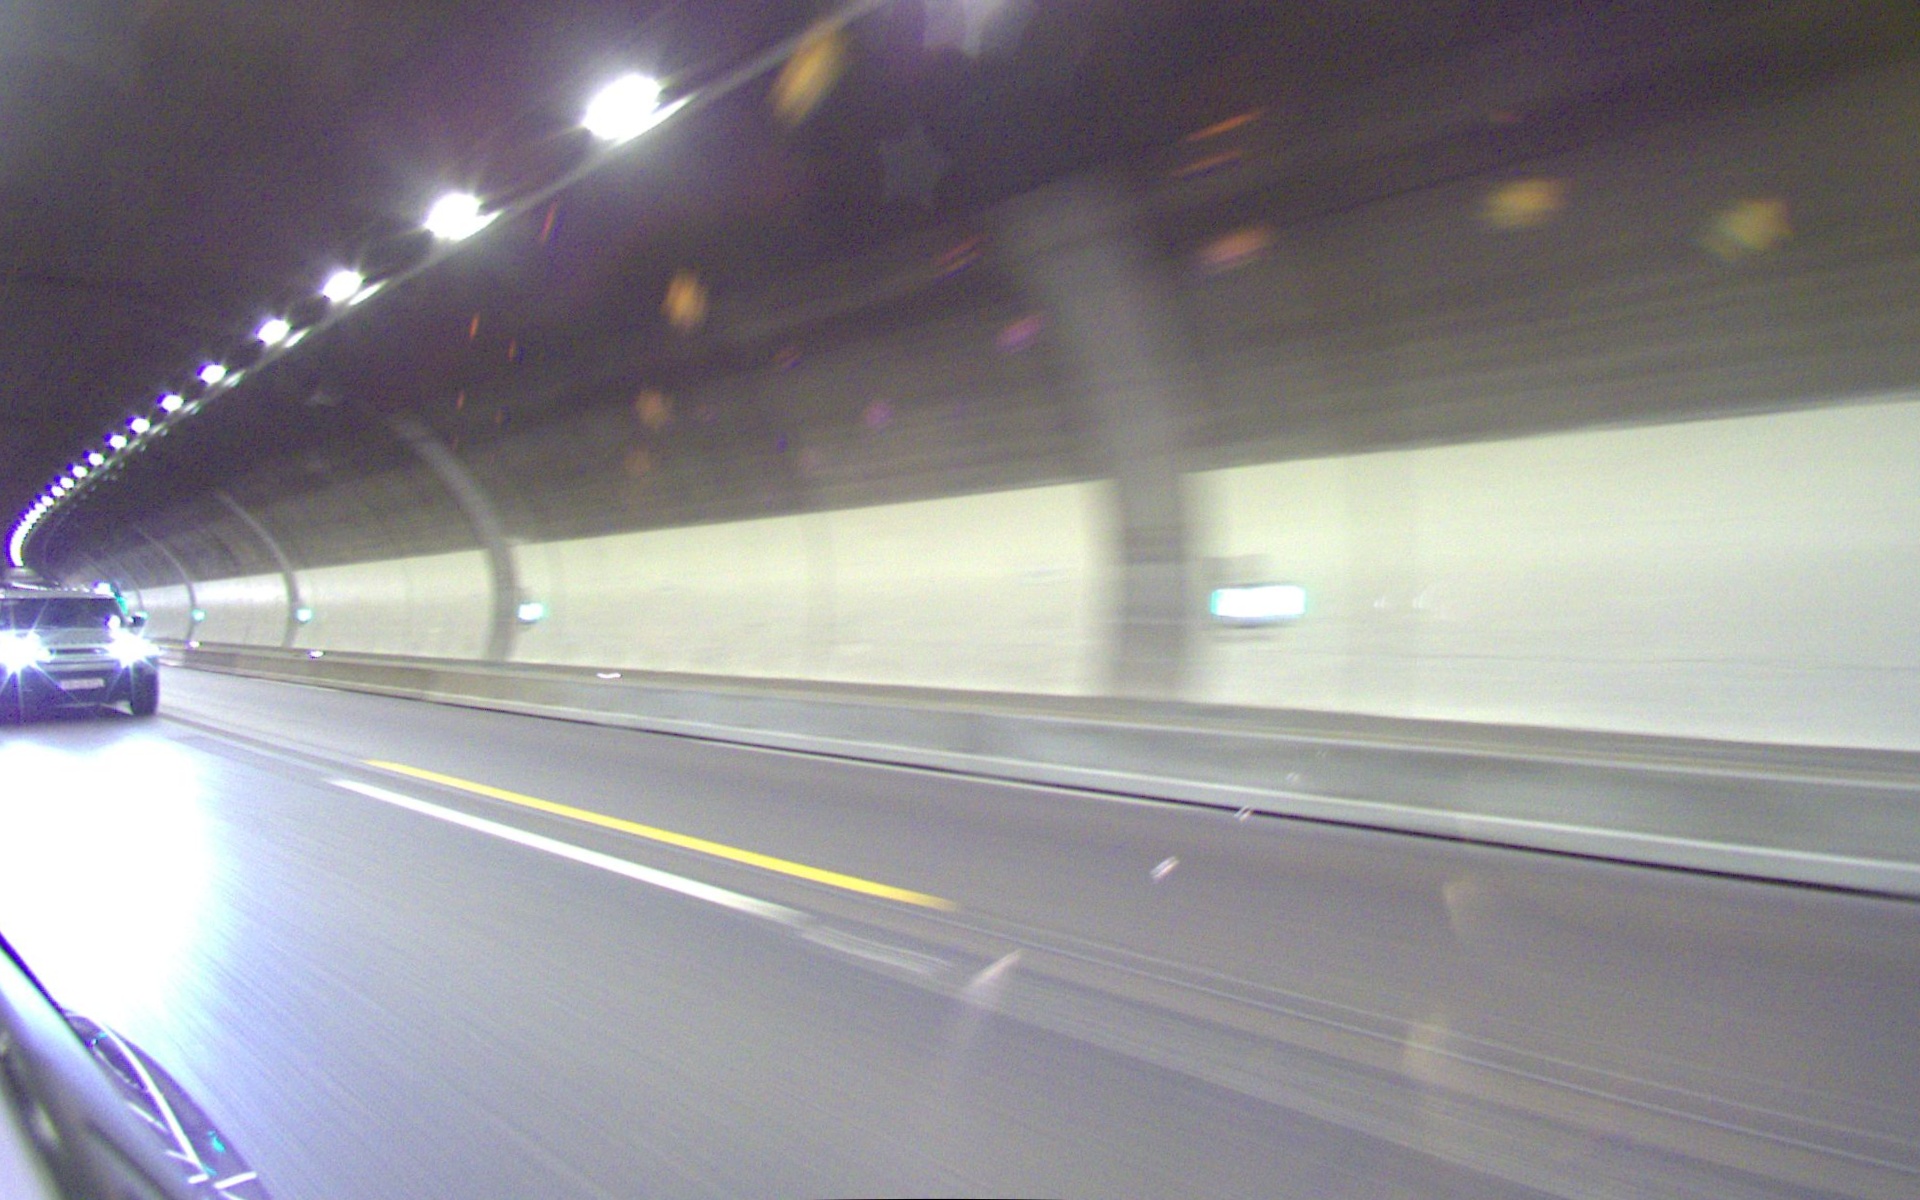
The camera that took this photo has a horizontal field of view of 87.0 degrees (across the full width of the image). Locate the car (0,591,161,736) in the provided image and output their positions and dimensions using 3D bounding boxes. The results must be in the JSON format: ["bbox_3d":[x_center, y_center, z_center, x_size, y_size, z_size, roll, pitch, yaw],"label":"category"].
[{"bbox_3d":[-14.235,0.875,15.711,5.451,1.909,1.972,-1,-1,42],"label":"car"}]
